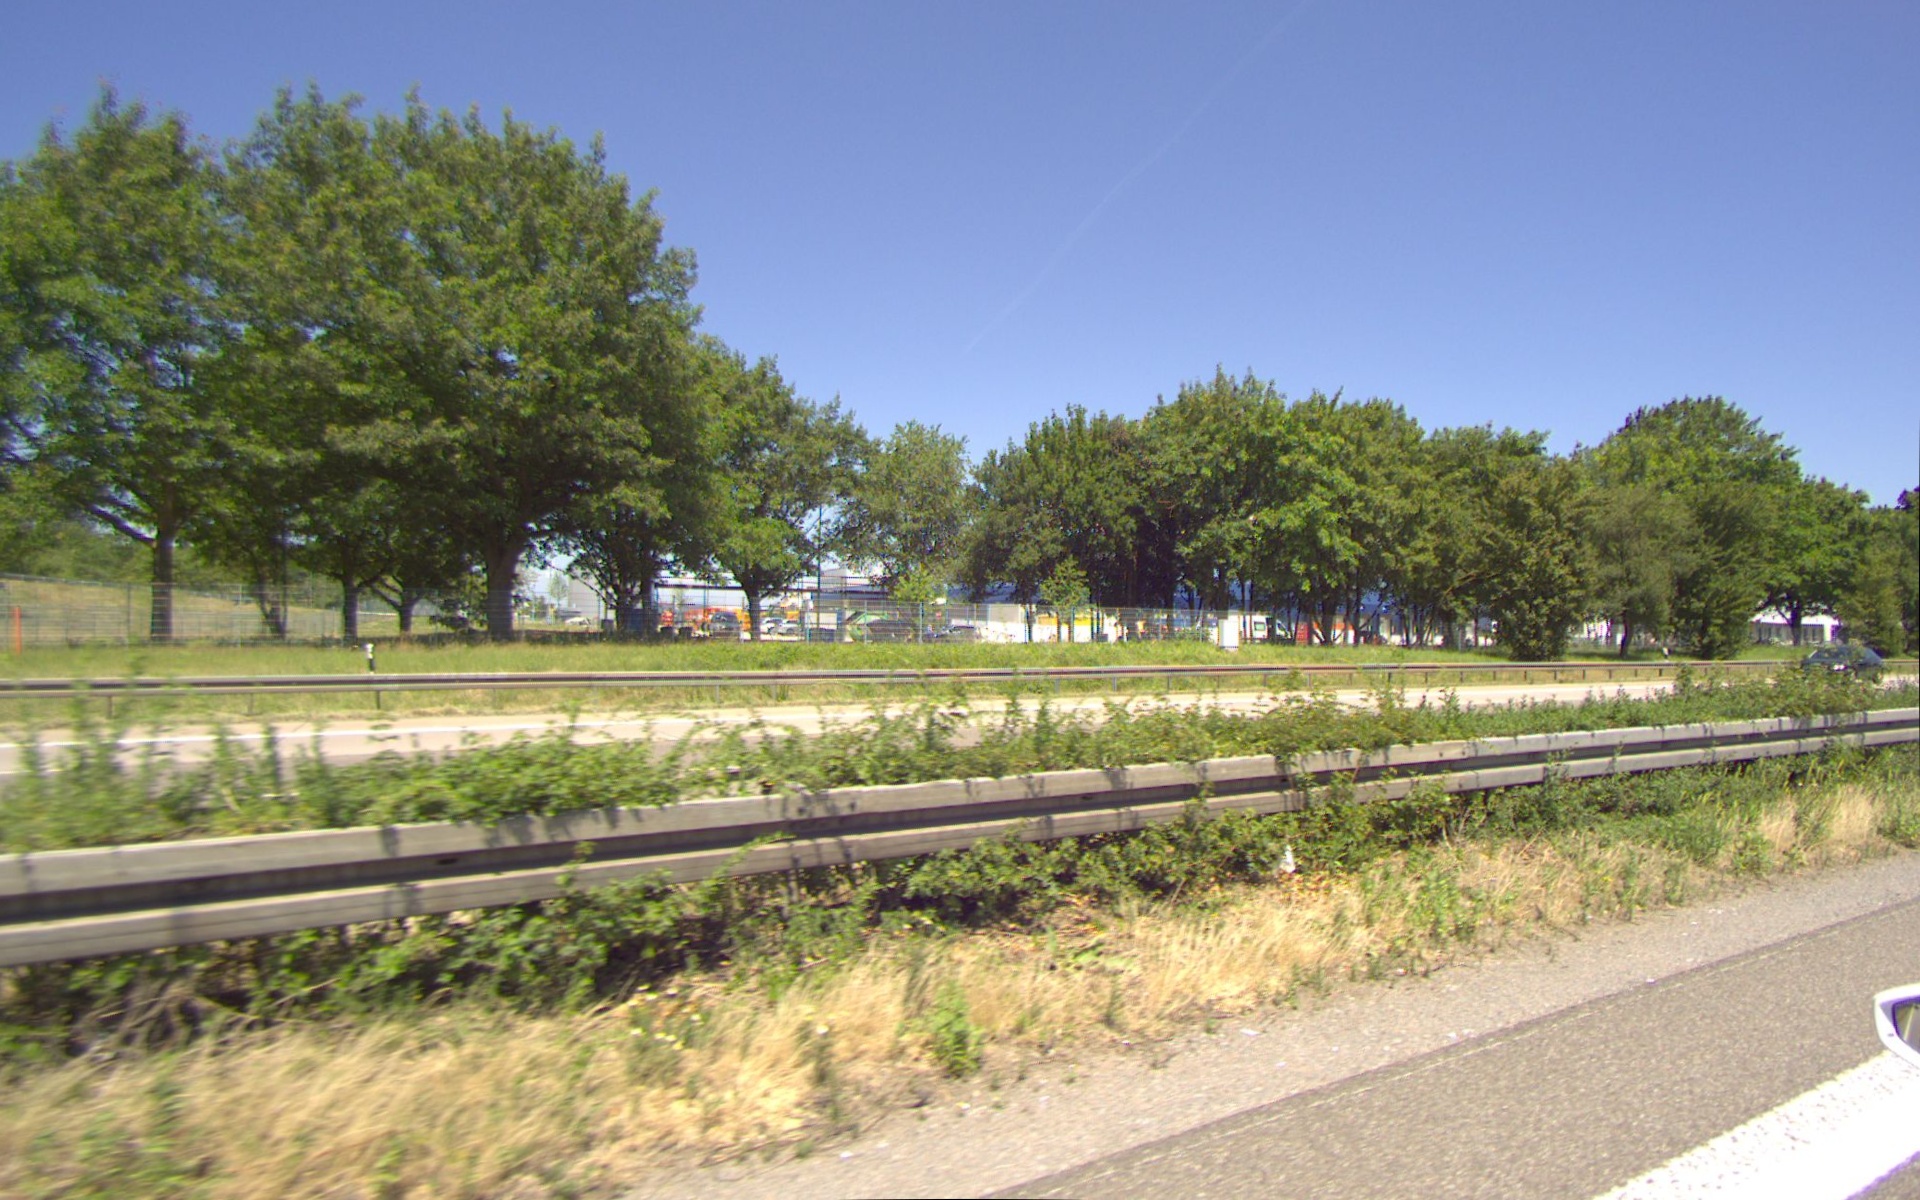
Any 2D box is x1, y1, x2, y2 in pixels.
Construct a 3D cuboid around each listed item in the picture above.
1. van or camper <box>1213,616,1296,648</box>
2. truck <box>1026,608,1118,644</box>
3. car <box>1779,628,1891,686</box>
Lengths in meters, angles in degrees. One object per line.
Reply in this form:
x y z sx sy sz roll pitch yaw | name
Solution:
25.282 2.754 86.097 7.638 2.586 2.345 2 -2 -32 | van or camper
10.556 2.503 94.735 8.196 3.233 3.534 2 -3 -30 | truck
33.709 2.162 38.684 4.222 2.040 1.984 2 1 -30 | car
